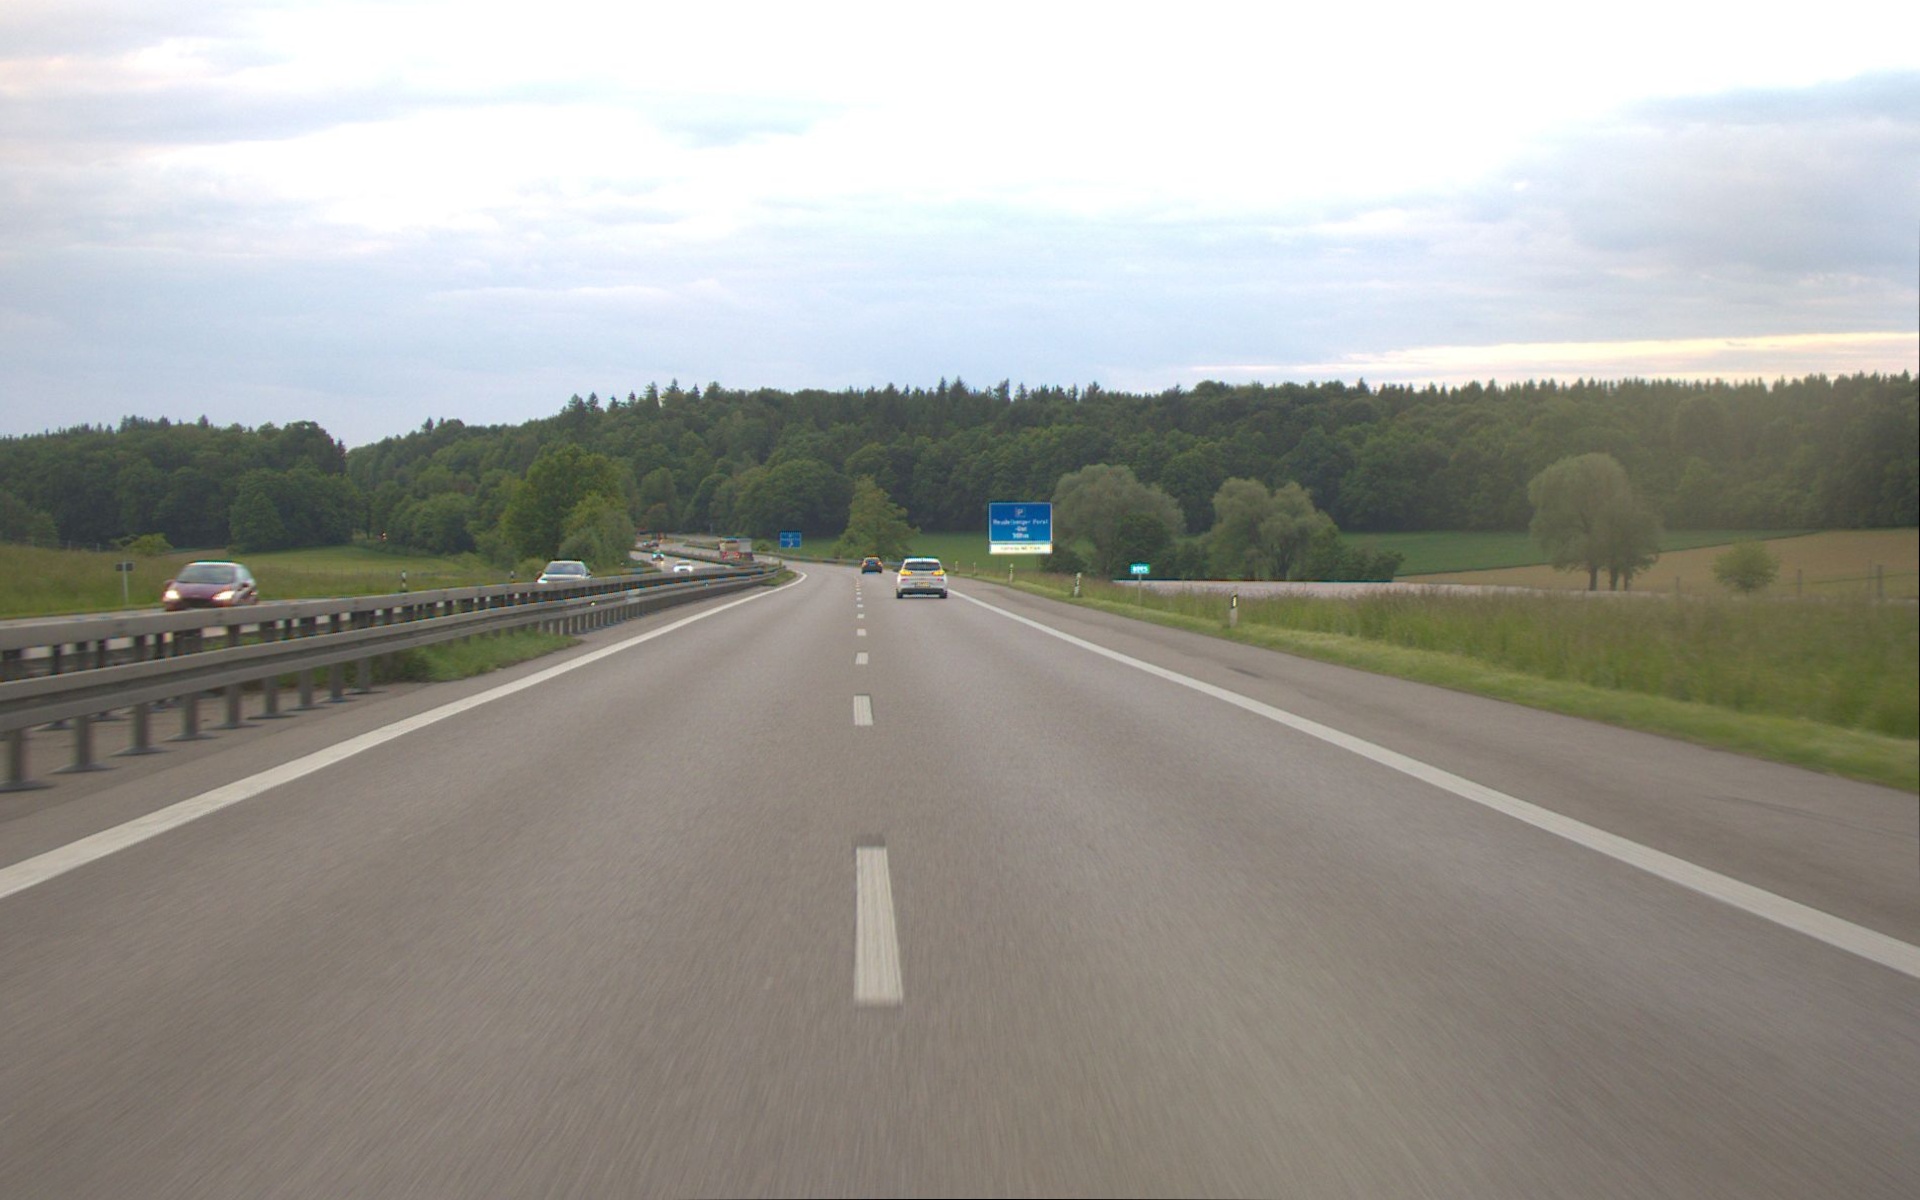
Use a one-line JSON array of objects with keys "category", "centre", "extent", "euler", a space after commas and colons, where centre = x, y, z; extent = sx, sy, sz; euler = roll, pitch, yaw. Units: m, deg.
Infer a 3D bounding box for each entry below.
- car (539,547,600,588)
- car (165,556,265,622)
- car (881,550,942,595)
[{"category": "car", "centre": [-14.789, -1.266, 130.326], "extent": [1.738, 1.451, 5.121], "euler": [1, 1, -1]}, {"category": "car", "centre": [-17.555, -0.279, 81.164], "extent": [1.528, 1.428, 4.435], "euler": [1, 1, -2]}, {"category": "car", "centre": [-1.773, -1.000, 123.579], "extent": [1.951, 1.526, 4.081], "euler": [1, 1, -4]}]
